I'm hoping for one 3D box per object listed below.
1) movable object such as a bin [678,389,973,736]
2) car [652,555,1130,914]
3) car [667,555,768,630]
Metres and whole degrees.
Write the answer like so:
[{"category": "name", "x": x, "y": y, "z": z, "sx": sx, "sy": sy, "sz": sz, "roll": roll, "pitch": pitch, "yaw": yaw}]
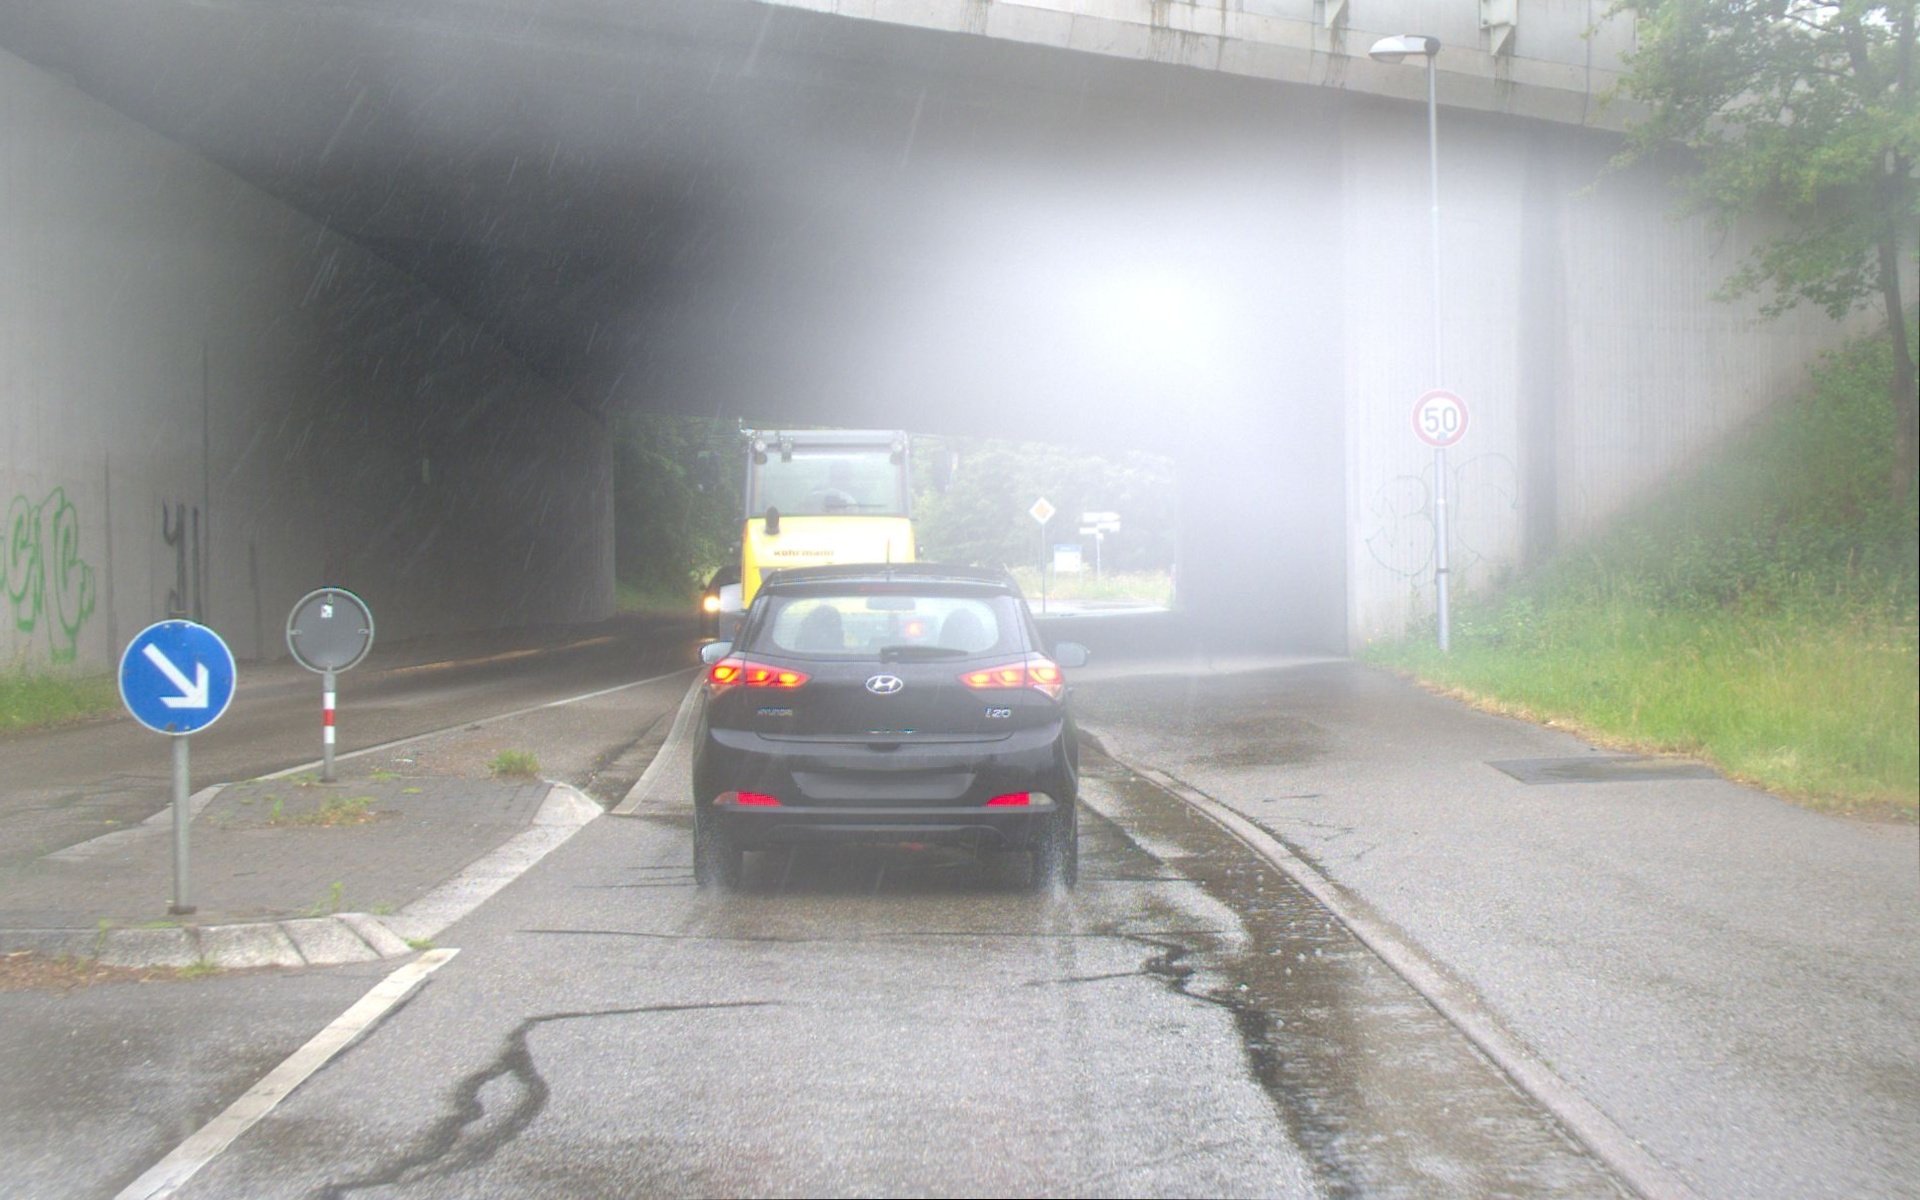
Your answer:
[{"category": "movable object such as a bin", "x": -1.156, "y": -0.324, "z": 30.126, "sx": 2.245, "sy": 2.660, "sz": 6.627, "roll": 1, "pitch": 1, "yaw": -2}, {"category": "car", "x": -0.356, "y": 0.551, "z": 16.557, "sx": 1.993, "sy": 1.482, "sz": 4.000, "roll": 1, "pitch": 1, "yaw": -2}, {"category": "car", "x": -4.955, "y": -0.176, "z": 70.731, "sx": 1.690, "sy": 1.482, "sz": 4.072, "roll": 0, "pitch": 1, "yaw": 1}]
